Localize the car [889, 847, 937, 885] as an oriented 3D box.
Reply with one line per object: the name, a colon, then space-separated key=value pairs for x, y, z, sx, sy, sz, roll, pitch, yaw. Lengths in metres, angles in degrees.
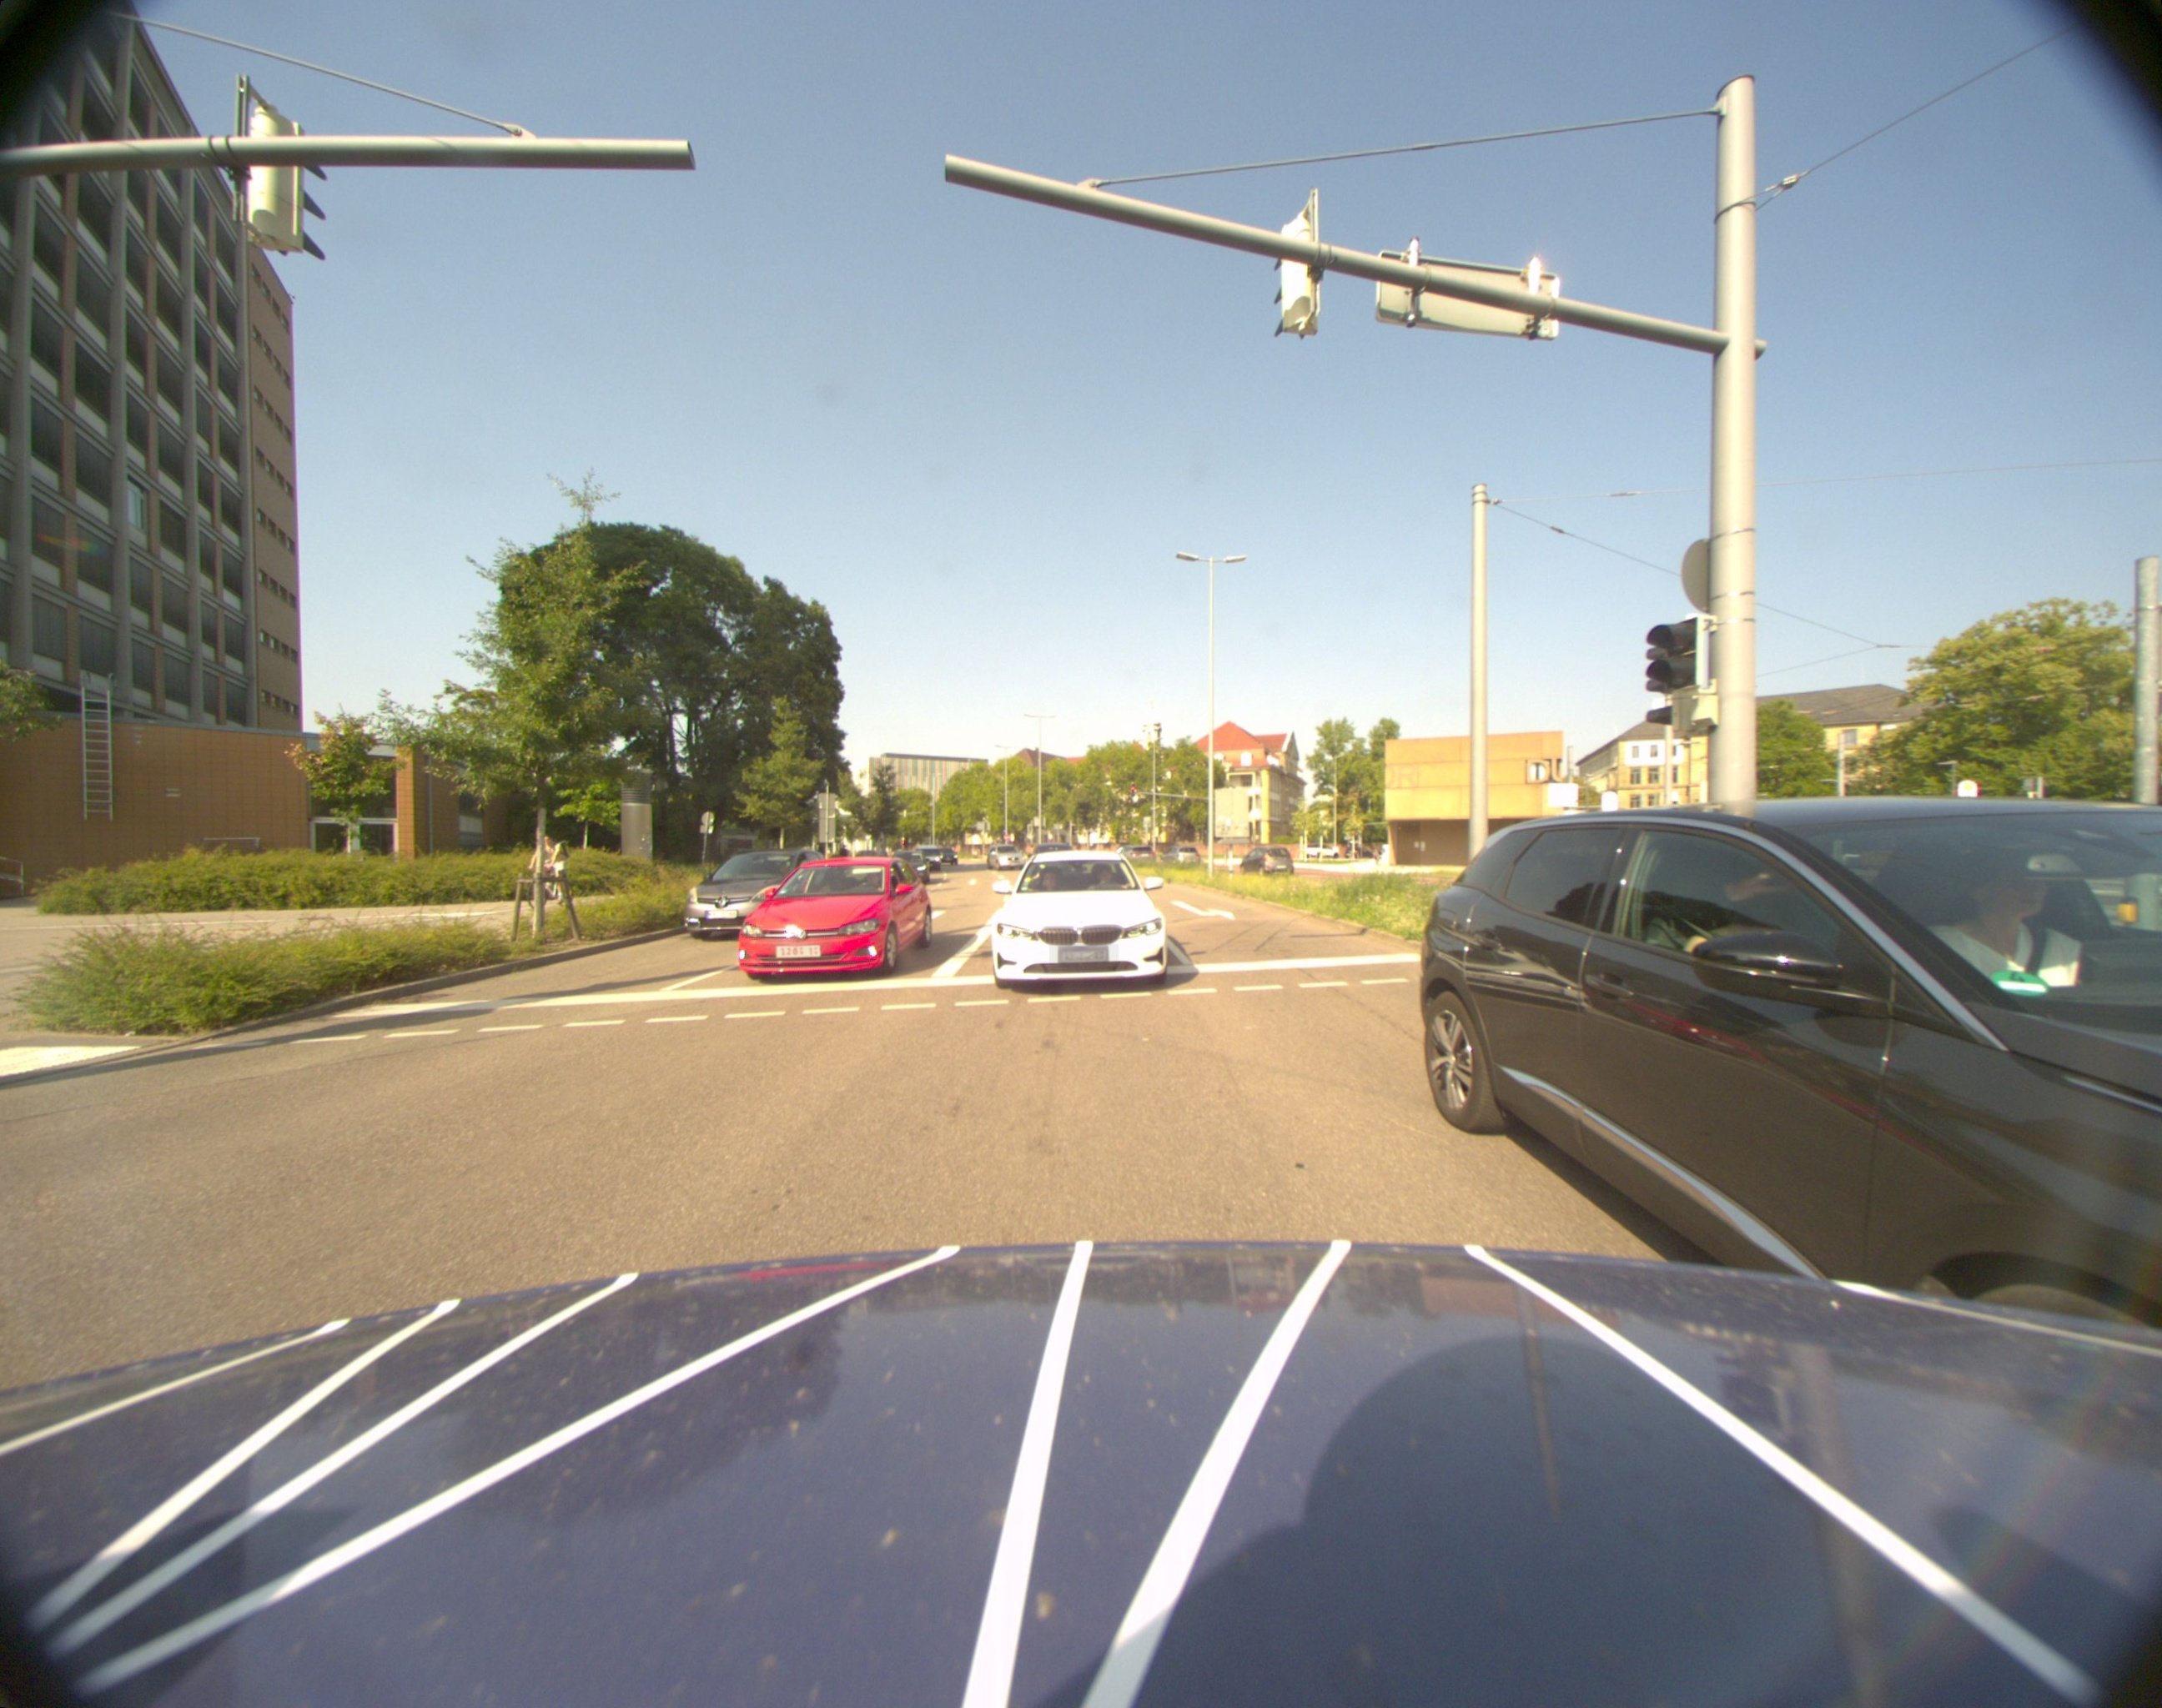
car: x=-7.734 y=0.513 z=35.350 sx=1.941 sy=1.598 sz=4.529 roll=-2 pitch=0 yaw=-10

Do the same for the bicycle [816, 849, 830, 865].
bicycle: x=-18.337 y=0.195 z=54.017 sx=0.774 sy=1.111 sz=2.300 roll=-1 pitch=1 yaw=-14

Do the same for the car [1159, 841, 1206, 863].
car: x=6.821 y=-0.142 z=51.523 sx=1.820 sy=1.425 sz=4.219 roll=-1 pitch=1 yaw=-13

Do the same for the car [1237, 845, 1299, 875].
car: x=9.400 y=0.273 z=38.472 sx=1.894 sy=1.443 sz=3.672 roll=0 pitch=1 yaw=-7

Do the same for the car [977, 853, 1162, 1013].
car: x=-0.017 y=0.763 z=9.589 sx=1.782 sy=1.474 sz=4.533 roll=0 pitch=1 yaw=2

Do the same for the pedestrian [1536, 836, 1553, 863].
pedestrian: x=27.844 y=-0.253 z=45.634 sx=0.717 sy=1.621 sz=0.857 roll=0 pitch=1 yaw=24

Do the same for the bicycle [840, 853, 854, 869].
bicycle: x=-15.109 y=0.446 z=49.101 sx=0.722 sy=0.954 sz=1.919 roll=-1 pitch=1 yaw=-12

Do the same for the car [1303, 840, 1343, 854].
car: x=27.811 y=-0.795 z=87.355 sx=4.379 sy=1.624 sz=1.995 roll=-1 pitch=1 yaw=-32

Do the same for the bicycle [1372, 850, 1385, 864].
bicycle: x=19.692 y=0.195 z=50.269 sx=0.591 sy=0.833 sz=1.550 roll=-3 pitch=-1 yaw=26

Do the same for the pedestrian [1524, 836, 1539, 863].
pedestrian: x=28.886 y=-0.288 z=48.709 sx=0.717 sy=1.728 sz=0.857 roll=0 pitch=1 yaw=24

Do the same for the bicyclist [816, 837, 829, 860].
bicyclist: x=-18.355 y=-0.394 z=54.023 sx=0.774 sy=1.666 sz=0.923 roll=-1 pitch=1 yaw=-14

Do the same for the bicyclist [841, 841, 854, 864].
bicyclist: x=-15.131 y=-0.097 z=49.177 sx=0.722 sy=1.504 sz=1.003 roll=-1 pitch=1 yaw=-12

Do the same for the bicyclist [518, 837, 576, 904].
bicyclist: x=-13.113 y=0.395 z=18.676 sx=0.773 sy=1.584 sz=0.923 roll=-1 pitch=1 yaw=-5

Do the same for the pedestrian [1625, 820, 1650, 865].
pedestrian: x=22.710 y=-0.477 z=31.011 sx=0.699 sy=1.790 sz=0.781 roll=0 pitch=2 yaw=29

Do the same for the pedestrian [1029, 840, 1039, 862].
pedestrian: x=-3.625 y=-0.207 z=58.888 sx=0.669 sy=1.689 sz=0.691 roll=0 pitch=1 yaw=-14

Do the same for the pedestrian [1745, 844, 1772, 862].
pedestrian: x=41.315 y=-0.065 z=46.336 sx=1.028 sy=1.127 sz=0.739 roll=0 pitch=1 yaw=17

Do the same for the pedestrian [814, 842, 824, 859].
pedestrian: x=-21.794 y=-0.316 z=63.250 sx=0.727 sy=1.435 sz=0.856 roll=-1 pitch=1 yaw=-15

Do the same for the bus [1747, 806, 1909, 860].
bus: x=47.019 y=-1.254 z=48.514 sx=3.291 sy=2.960 sz=12.818 roll=0 pitch=1 yaw=25

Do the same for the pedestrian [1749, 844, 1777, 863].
pedestrian: x=40.905 y=-0.029 z=45.568 sx=1.028 sy=1.127 sz=0.739 roll=0 pitch=1 yaw=17

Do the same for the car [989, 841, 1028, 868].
car: x=-4.969 y=0.057 z=51.554 sx=1.785 sy=1.710 sz=4.527 roll=-3 pitch=0 yaw=-16

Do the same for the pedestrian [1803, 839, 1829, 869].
pedestrian: x=42.959 y=-0.006 z=44.406 sx=0.829 sy=1.729 sz=0.837 roll=0 pitch=1 yaw=23

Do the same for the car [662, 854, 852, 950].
car: x=-6.171 y=0.816 z=15.119 sx=1.782 sy=1.596 sz=4.421 roll=-1 pitch=0 yaw=1

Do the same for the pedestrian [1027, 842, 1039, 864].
pedestrian: x=-3.553 y=-0.094 z=56.300 sx=0.667 sy=1.645 sz=0.780 roll=0 pitch=1 yaw=22

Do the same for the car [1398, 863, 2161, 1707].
car: x=2.566 y=0.819 z=2.249 sx=1.686 sy=1.483 sz=4.373 roll=0 pitch=1 yaw=4

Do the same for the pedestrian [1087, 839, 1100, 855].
pedestrian: x=1.535 y=-0.881 z=94.912 sx=1.080 sy=2.002 sz=1.316 roll=-2 pitch=2 yaw=-23

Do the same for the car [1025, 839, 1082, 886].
car: x=-1.195 y=0.323 z=30.640 sx=1.783 sy=1.683 sz=4.530 roll=-3 pitch=0 yaw=-8

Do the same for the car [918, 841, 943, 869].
car: x=-10.831 y=0.057 z=54.487 sx=1.689 sy=1.930 sz=4.367 roll=0 pitch=1 yaw=-12

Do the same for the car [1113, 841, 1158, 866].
car: x=3.557 y=-0.062 z=50.436 sx=1.700 sy=1.608 sz=4.455 roll=-1 pitch=1 yaw=-15

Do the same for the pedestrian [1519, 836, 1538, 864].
pedestrian: x=27.116 y=-0.226 z=46.014 sx=0.864 sy=1.695 sz=0.733 roll=0 pitch=1 yaw=21

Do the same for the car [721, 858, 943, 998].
car: x=-3.143 y=0.825 z=10.582 sx=1.687 sy=1.483 sz=4.371 roll=0 pitch=1 yaw=-1

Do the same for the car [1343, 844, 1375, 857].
car: x=33.287 y=-0.416 z=90.992 sx=3.856 sy=1.489 sz=1.621 roll=-1 pitch=2 yaw=-33

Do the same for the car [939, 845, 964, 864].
car: x=-12.001 y=0.042 z=70.337 sx=1.689 sy=1.644 sz=4.365 roll=0 pitch=1 yaw=-18

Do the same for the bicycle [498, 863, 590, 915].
bicycle: x=-13.103 y=0.818 z=18.657 sx=0.773 sy=1.111 sz=2.302 roll=-1 pitch=1 yaw=-5

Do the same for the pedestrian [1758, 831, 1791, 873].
pedestrian: x=29.806 y=-0.087 z=32.656 sx=0.780 sy=1.790 sz=0.700 roll=-1 pitch=1 yaw=-10

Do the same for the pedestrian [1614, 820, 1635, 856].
pedestrian: x=27.362 y=-0.809 z=38.268 sx=0.699 sy=1.790 sz=0.781 roll=0 pitch=1 yaw=23

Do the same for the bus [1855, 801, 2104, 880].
bus: x=41.336 y=-0.618 z=35.799 sx=2.709 sy=3.090 sz=12.235 roll=0 pitch=1 yaw=25
